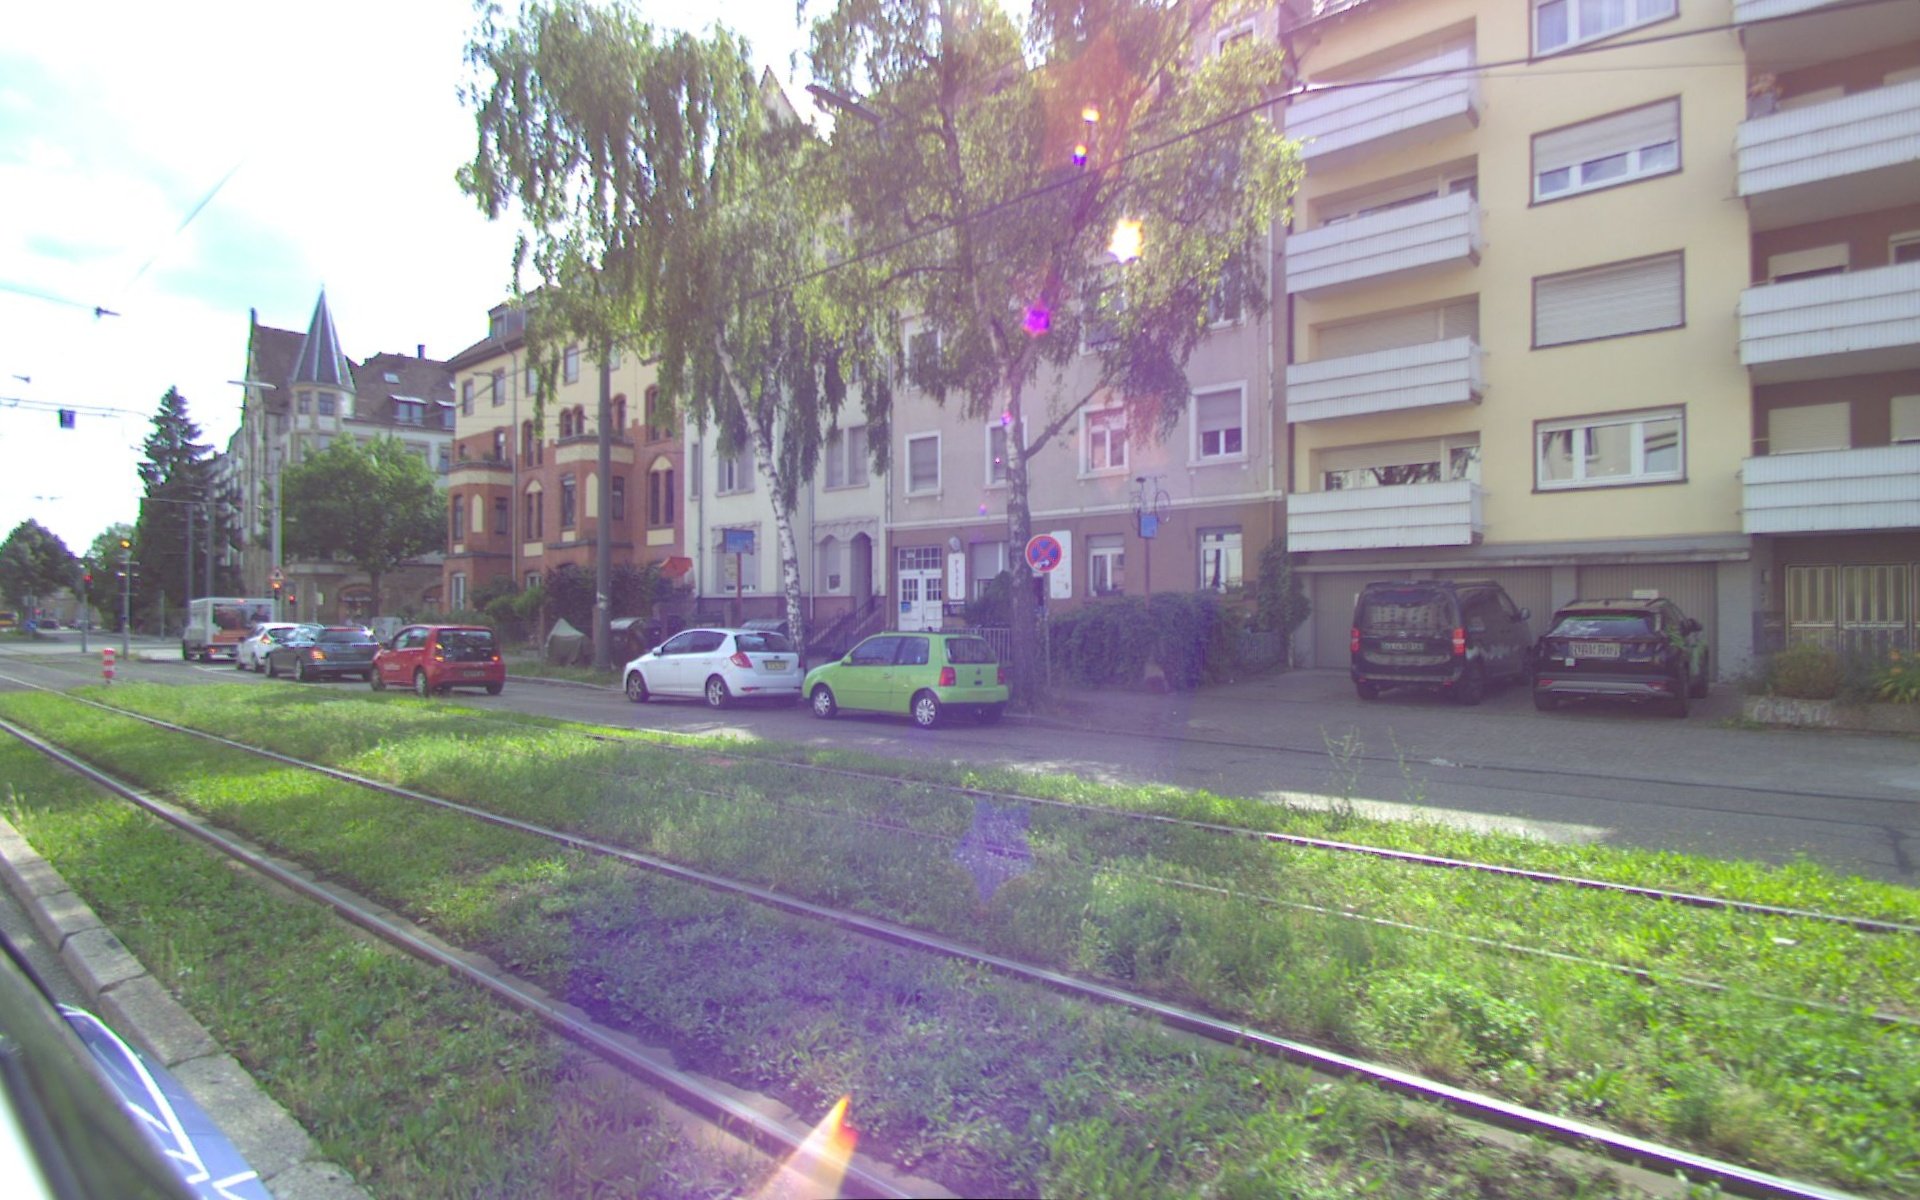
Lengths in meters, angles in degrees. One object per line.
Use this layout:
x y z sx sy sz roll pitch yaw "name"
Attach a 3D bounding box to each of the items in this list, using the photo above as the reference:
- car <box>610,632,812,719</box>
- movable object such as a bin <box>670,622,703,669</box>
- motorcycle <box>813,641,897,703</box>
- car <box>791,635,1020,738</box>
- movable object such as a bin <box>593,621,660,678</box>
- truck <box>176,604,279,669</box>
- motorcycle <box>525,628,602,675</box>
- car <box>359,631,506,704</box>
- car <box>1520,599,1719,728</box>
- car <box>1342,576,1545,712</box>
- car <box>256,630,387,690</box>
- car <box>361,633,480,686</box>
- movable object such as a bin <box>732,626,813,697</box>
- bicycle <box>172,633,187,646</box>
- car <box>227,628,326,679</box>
-4.839 1.366 19.353 4.224 1.489 1.627 -1 -3 42 "car"
-8.088 1.348 29.965 0.698 1.372 0.666 -2 -2 38 "movable object such as a bin"
-2.094 1.396 20.055 1.631 1.160 0.727 -1 -3 39 "motorcycle"
-0.942 1.284 16.155 3.613 1.443 1.577 -2 -3 42 "car"
-8.712 1.273 26.440 1.521 1.377 0.941 -2 3 41 "movable object such as a bin"
-27.508 1.348 37.886 2.159 2.231 6.616 2 -3 -44 "truck"
-11.020 1.400 28.083 2.289 1.252 0.892 -1 -2 36 "motorcycle"
-11.267 1.374 21.536 3.691 1.397 1.562 -1 -3 42 "car"
10.044 0.837 15.276 1.972 1.614 3.945 -1 0 41 "car"
8.349 0.651 17.327 1.938 2.029 3.942 -2 0 44 "car"
-16.601 1.513 26.231 4.512 1.366 1.736 -1 -3 43 "car"
-15.212 1.630 28.474 3.995 1.366 1.736 -1 -2 43 "car"
-4.063 1.297 21.888 1.521 1.440 0.941 -2 0 41 "movable object such as a bin"
-58.785 2.976 76.203 2.337 0.979 0.616 -2 -2 45 "bicycle"
-20.806 1.605 30.749 1.734 1.425 4.136 4 -3 -44 "car"
